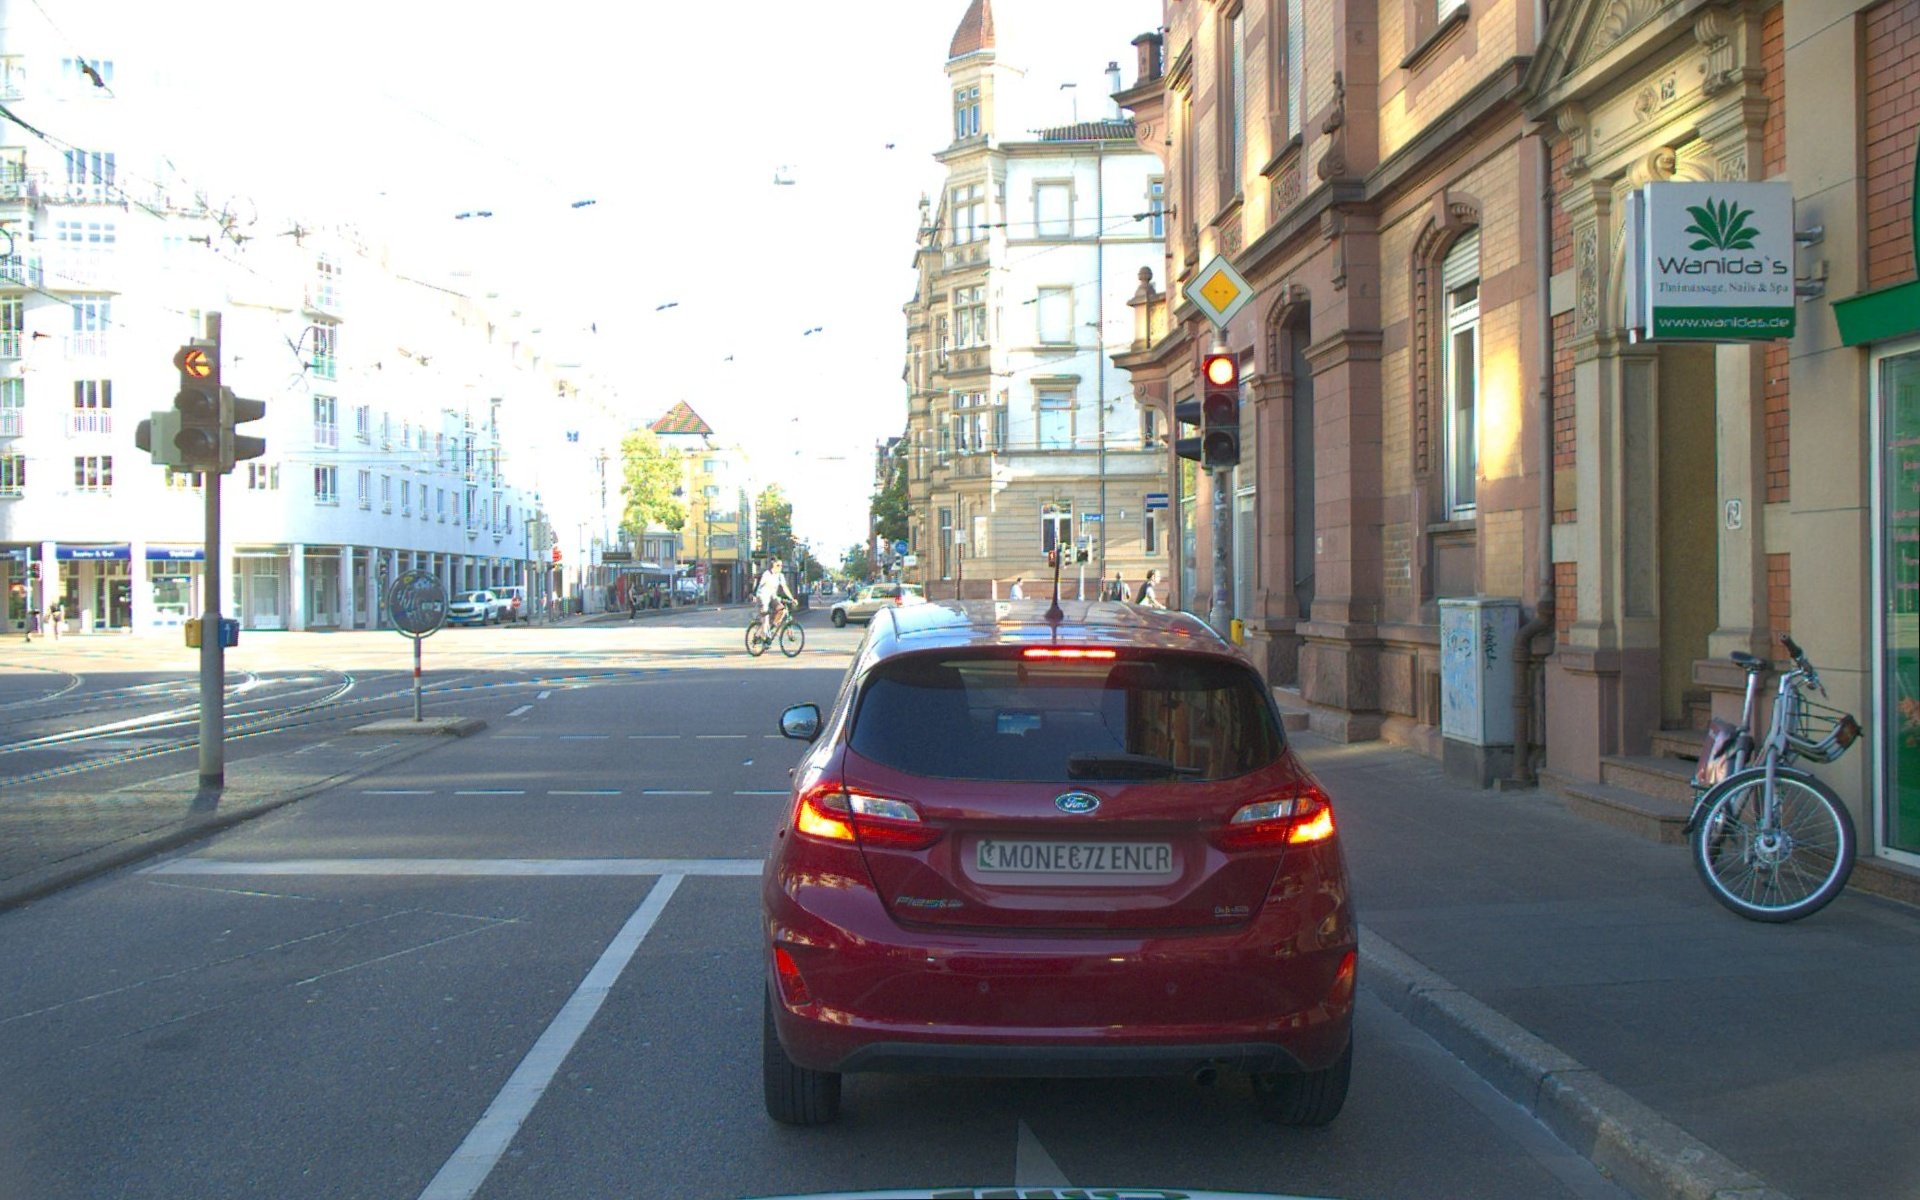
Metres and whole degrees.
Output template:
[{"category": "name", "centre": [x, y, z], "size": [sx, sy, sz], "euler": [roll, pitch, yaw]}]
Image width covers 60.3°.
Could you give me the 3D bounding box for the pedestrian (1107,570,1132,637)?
[{"category": "pedestrian", "centre": [4.296, 0.099, 44.633], "size": [0.549, 1.786, 0.650], "euler": [-1, 0, -1]}]

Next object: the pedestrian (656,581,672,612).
[{"category": "pedestrian", "centre": [-19.885, -0.262, 111.089], "size": [0.937, 2.049, 1.047], "euler": [-1, 0, -6]}]

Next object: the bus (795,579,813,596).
[{"category": "bus", "centre": [-20.471, -1.643, 216.703], "size": [1.887, 2.049, 7.134], "euler": [-1, 0, -2]}]

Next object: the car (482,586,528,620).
[{"category": "car", "centre": [-23.938, 0.136, 87.095], "size": [1.667, 1.748, 3.561], "euler": [-1, 0, -4]}]

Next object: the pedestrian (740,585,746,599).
[{"category": "pedestrian", "centre": [-25.775, -0.973, 196.274], "size": [0.619, 1.632, 0.575], "euler": [-1, 0, -20]}]

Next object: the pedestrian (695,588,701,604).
[{"category": "pedestrian", "centre": [-25.272, -0.368, 159.473], "size": [0.569, 1.514, 0.525], "euler": [-1, 0, -5]}]

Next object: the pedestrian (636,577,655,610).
[{"category": "pedestrian", "centre": [-19.891, -0.403, 104.593], "size": [1.025, 2.049, 0.958], "euler": [-1, 0, -6]}]

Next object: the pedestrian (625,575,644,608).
[{"category": "pedestrian", "centre": [-20.156, -0.521, 102.539], "size": [1.025, 2.049, 0.958], "euler": [-1, 0, -6]}]

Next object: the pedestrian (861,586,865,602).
[{"category": "pedestrian", "centre": [-11.967, -0.720, 203.851], "size": [0.565, 1.920, 0.669], "euler": [-1, 0, -3]}]

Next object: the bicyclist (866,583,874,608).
[{"category": "bicyclist", "centre": [-6.271, -0.312, 115.133], "size": [0.489, 1.705, 0.545], "euler": [-1, 0, -2]}]

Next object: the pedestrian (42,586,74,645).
[{"category": "pedestrian", "centre": [-31.807, 0.553, 58.322], "size": [0.934, 2.049, 0.930], "euler": [-1, 0, -31]}]

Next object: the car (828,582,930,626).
[{"category": "car", "centre": [-3.024, 0.137, 61.278], "size": [3.838, 1.576, 1.446], "euler": [-1, 0, 41]}]

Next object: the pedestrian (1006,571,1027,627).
[{"category": "pedestrian", "centre": [2.077, -0.028, 60.735], "size": [0.741, 2.049, 0.653], "euler": [-1, 0, 4]}]

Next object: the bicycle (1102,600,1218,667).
[{"category": "bicycle", "centre": [3.626, 0.610, 30.118], "size": [2.001, 1.167, 0.810], "euler": [-1, 0, -1]}]

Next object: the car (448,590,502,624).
[{"category": "car", "centre": [-23.287, 0.300, 79.499], "size": [1.730, 1.573, 3.459], "euler": [-1, 0, -3]}]

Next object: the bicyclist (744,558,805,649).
[{"category": "bicyclist", "centre": [-3.839, 0.058, 34.281], "size": [0.976, 1.853, 0.805], "euler": [-1, 0, 42]}]

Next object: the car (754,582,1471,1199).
[{"category": "car", "centre": [0.206, 0.705, 5.909], "size": [1.720, 1.492, 3.941], "euler": [1, 0, -5]}]

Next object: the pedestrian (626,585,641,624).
[{"category": "pedestrian", "centre": [-14.394, 0.184, 72.921], "size": [0.513, 1.711, 0.486], "euler": [-1, 0, -1]}]

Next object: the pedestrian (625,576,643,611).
[{"category": "pedestrian", "centre": [-19.792, -0.399, 100.362], "size": [0.937, 2.049, 1.048], "euler": [-1, 0, -4]}]

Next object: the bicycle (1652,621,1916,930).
[{"category": "bicycle", "centre": [3.639, 0.720, 7.450], "size": [0.700, 1.172, 1.656], "euler": [-2, 0, 15]}]

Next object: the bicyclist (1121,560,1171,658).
[{"category": "bicyclist", "centre": [3.387, 0.155, 30.108], "size": [0.776, 1.756, 0.810], "euler": [-1, 0, -2]}]

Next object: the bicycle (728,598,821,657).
[{"category": "bicycle", "centre": [-3.850, 0.557, 34.264], "size": [1.975, 1.167, 0.805], "euler": [0, 0, 42]}]

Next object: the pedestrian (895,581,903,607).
[{"category": "pedestrian", "centre": [-4.969, -0.498, 134.396], "size": [0.565, 2.049, 0.631], "euler": [-1, 0, 2]}]

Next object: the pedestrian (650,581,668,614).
[{"category": "pedestrian", "centre": [-18.670, -0.156, 102.685], "size": [1.025, 2.049, 0.958], "euler": [-1, 0, -6]}]
